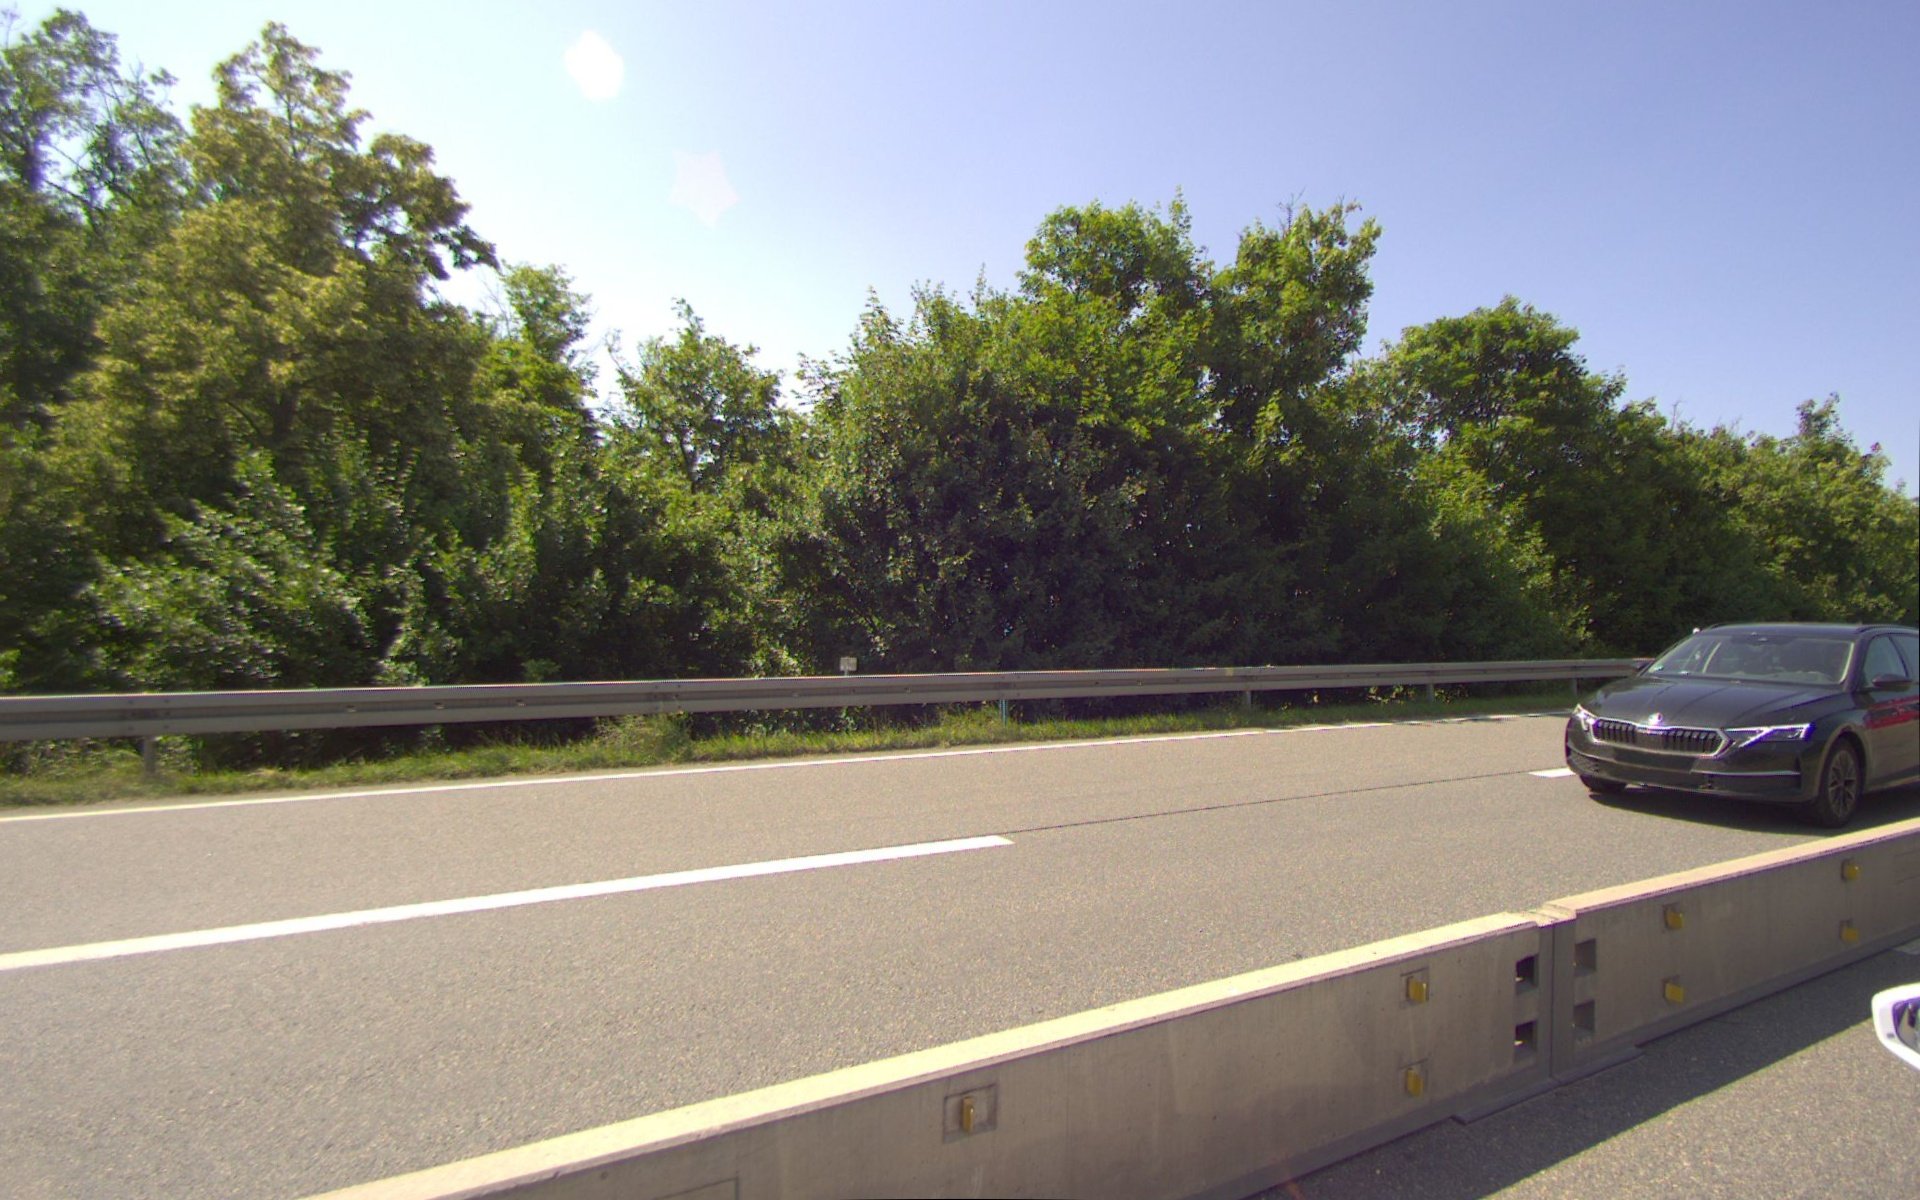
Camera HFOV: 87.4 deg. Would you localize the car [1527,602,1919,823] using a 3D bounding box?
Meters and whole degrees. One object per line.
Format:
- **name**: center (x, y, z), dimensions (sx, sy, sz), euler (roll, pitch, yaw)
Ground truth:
- **car**: center (7.036, 0.807, 8.710), dimensions (4.206, 1.502, 1.813), euler (1, 0, -30)
